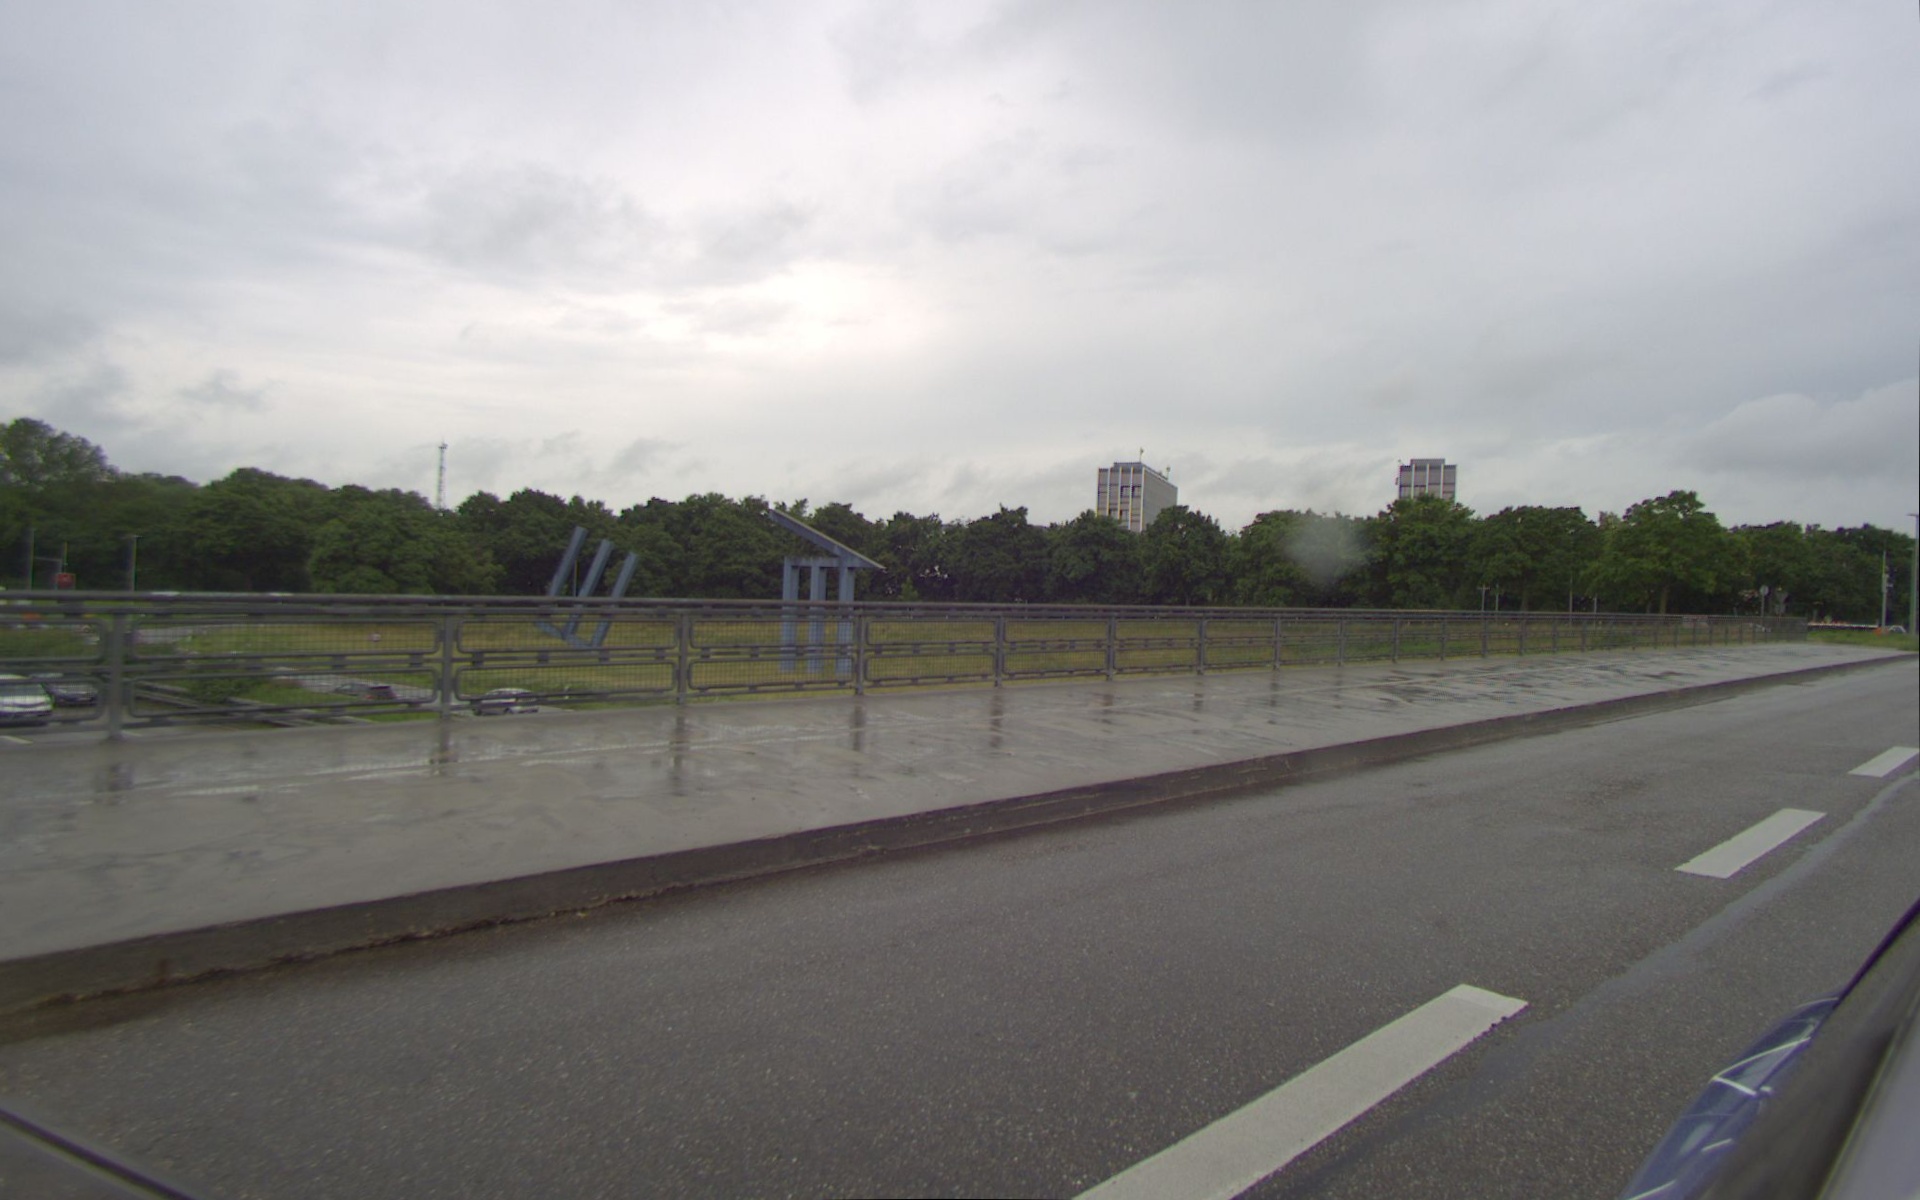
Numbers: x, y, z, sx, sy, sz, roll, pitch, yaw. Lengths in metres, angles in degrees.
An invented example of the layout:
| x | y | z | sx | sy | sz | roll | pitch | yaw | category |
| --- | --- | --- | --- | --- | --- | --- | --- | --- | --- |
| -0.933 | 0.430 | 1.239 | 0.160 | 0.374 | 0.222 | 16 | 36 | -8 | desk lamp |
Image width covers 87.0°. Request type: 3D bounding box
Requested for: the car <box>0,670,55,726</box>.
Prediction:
| x | y | z | sx | sy | sz | roll | pitch | yaw | category |
| --- | --- | --- | --- | --- | --- | --- | --- | --- | --- |
| -40.771 | 4.136 | 43.258 | 3.967 | 1.976 | 1.978 | 1 | 0 | 30 | car |

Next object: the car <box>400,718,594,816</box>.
| x | y | z | sx | sy | sz | roll | pitch | yaw | category |
| --- | --- | --- | --- | --- | --- | --- | --- | --- | --- |
| -13.385 | 4.693 | 29.179 | 5.571 | 1.990 | 2.274 | 1 | -1 | 30 | car |

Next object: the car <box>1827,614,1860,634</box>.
| x | y | z | sx | sy | sz | roll | pitch | yaw | category |
| --- | --- | --- | --- | --- | --- | --- | --- | --- | --- |
| 80.181 | 2.192 | 91.810 | 3.932 | 1.772 | 1.838 | 2 | 0 | -43 | car |

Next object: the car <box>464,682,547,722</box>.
| x | y | z | sx | sy | sz | roll | pitch | yaw | category |
| --- | --- | --- | --- | --- | --- | --- | --- | --- | --- |
| -23.753 | 5.298 | 52.867 | 3.965 | 1.750 | 1.979 | 0 | -1 | 29 | car |
